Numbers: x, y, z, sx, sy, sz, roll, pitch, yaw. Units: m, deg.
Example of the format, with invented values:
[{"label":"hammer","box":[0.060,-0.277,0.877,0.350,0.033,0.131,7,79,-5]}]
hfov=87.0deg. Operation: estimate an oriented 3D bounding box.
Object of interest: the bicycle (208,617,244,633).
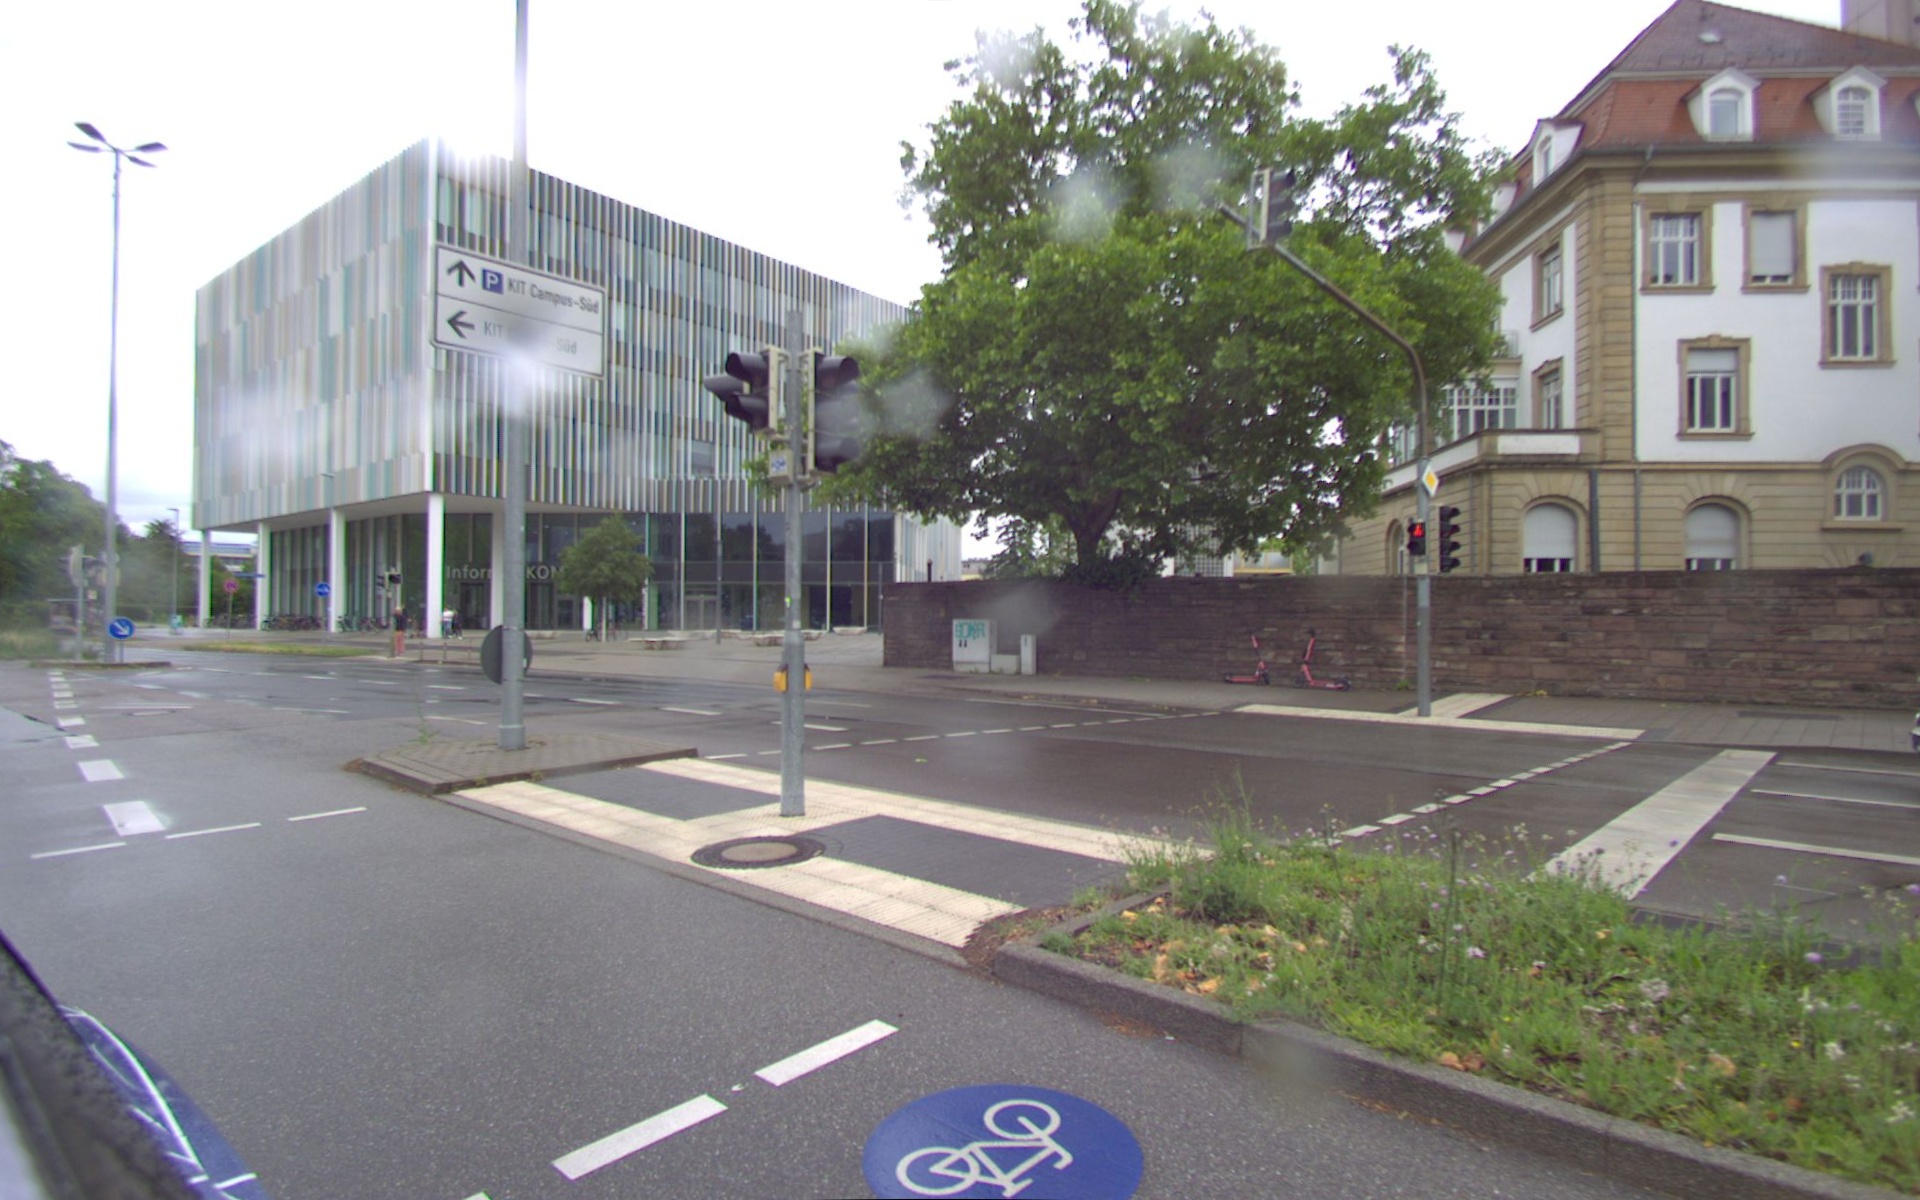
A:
[{"label":"bicycle","box":[-57.803,1.945,79.689,2.249,1.231,0.600,1,-2,-39]}]

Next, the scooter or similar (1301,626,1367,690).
[{"label":"scooter or similar","box":[7.447,1.139,20.143,1.139,1.206,0.387,-1,5,36]}]

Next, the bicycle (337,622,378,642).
[{"label":"bicycle","box":[-38.478,2.023,64.700,0.596,1.231,2.263,-1,-1,29]}]

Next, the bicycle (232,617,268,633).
[{"label":"bicycle","box":[-55.055,1.926,78.465,2.249,1.231,0.600,1,-2,-39]}]

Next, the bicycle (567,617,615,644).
[{"label":"bicycle","box":[-17.283,1.415,47.427,0.596,1.231,2.263,-1,-1,29]}]

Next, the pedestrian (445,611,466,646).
[{"label":"pedestrian","box":[-26.798,1.513,53.778,0.619,1.838,0.782,0,-1,18]}]

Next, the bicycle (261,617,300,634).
[{"label":"bicycle","box":[-48.501,1.813,72.267,2.249,1.231,0.600,1,-2,-39]}]

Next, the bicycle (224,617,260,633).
[{"label":"bicycle","box":[-56.156,1.937,79.129,2.249,1.231,0.600,1,-2,-39]}]

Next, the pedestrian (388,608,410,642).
[{"label":"pedestrian","box":[-30.934,1.361,55.803,0.909,1.838,0.941,1,-2,-40]}]

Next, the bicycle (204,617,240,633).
[{"label":"bicycle","box":[-58.493,1.955,80.242,2.249,1.231,0.600,1,-2,-39]}]

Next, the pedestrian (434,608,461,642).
[{"label":"pedestrian","box":[-28.481,1.378,56.241,0.916,1.838,0.934,0,-1,18]}]

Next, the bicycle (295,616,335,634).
[{"label":"bicycle","box":[-44.188,1.721,69.345,2.249,1.231,0.600,1,-2,-39]}]

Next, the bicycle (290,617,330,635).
[{"label":"bicycle","box":[-44.984,1.776,70.085,2.249,1.231,0.600,1,-2,-39]}]

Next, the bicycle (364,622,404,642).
[{"label":"bicycle","box":[-36.410,2.013,64.007,0.596,1.231,2.263,-1,-1,29]}]

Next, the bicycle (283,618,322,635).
[{"label":"bicycle","box":[-46.509,1.872,71.578,2.249,1.231,0.600,1,-2,-39]}]

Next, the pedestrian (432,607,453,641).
[{"label":"pedestrian","box":[-27.898,1.289,54.569,0.619,1.838,0.782,0,-1,18]}]

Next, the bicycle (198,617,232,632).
[{"label":"bicycle","box":[-61.756,2.023,83.913,2.249,1.231,0.600,1,-2,-39]}]

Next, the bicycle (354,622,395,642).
[{"label":"bicycle","box":[-37.084,2.015,64.165,0.596,1.231,2.263,-1,-1,29]}]

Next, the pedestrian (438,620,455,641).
[{"label":"pedestrian","box":[-29.196,1.730,57.508,0.787,1.161,0.616,-1,-2,44]}]

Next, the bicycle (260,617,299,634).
[{"label":"bicycle","box":[-49.035,1.825,72.913,2.249,1.231,0.600,1,-2,-39]}]

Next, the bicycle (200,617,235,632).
[{"label":"bicycle","box":[-60.225,1.989,82.063,2.249,1.231,0.600,1,-2,-39]}]

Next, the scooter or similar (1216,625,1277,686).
[{"label":"scooter or similar","box":[6.021,1.159,21.268,1.140,1.206,0.387,0,5,37]}]

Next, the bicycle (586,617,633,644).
[{"label":"bicycle","box":[-16.281,1.397,47.084,0.596,1.231,2.263,-1,-1,29]}]

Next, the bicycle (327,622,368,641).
[{"label":"bicycle","box":[-39.475,2.031,65.220,0.596,1.231,2.263,-1,-1,29]}]

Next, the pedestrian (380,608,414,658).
[{"label":"pedestrian","box":[-21.063,1.235,37.877,0.789,1.838,0.782,0,-1,18]}]

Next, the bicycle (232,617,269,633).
[{"label":"bicycle","box":[-54.601,1.915,77.874,2.249,1.231,0.600,1,-2,-39]}]

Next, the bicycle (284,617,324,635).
[{"label":"bicycle","box":[-45.812,1.787,70.709,2.249,1.231,0.600,1,-2,-39]}]
